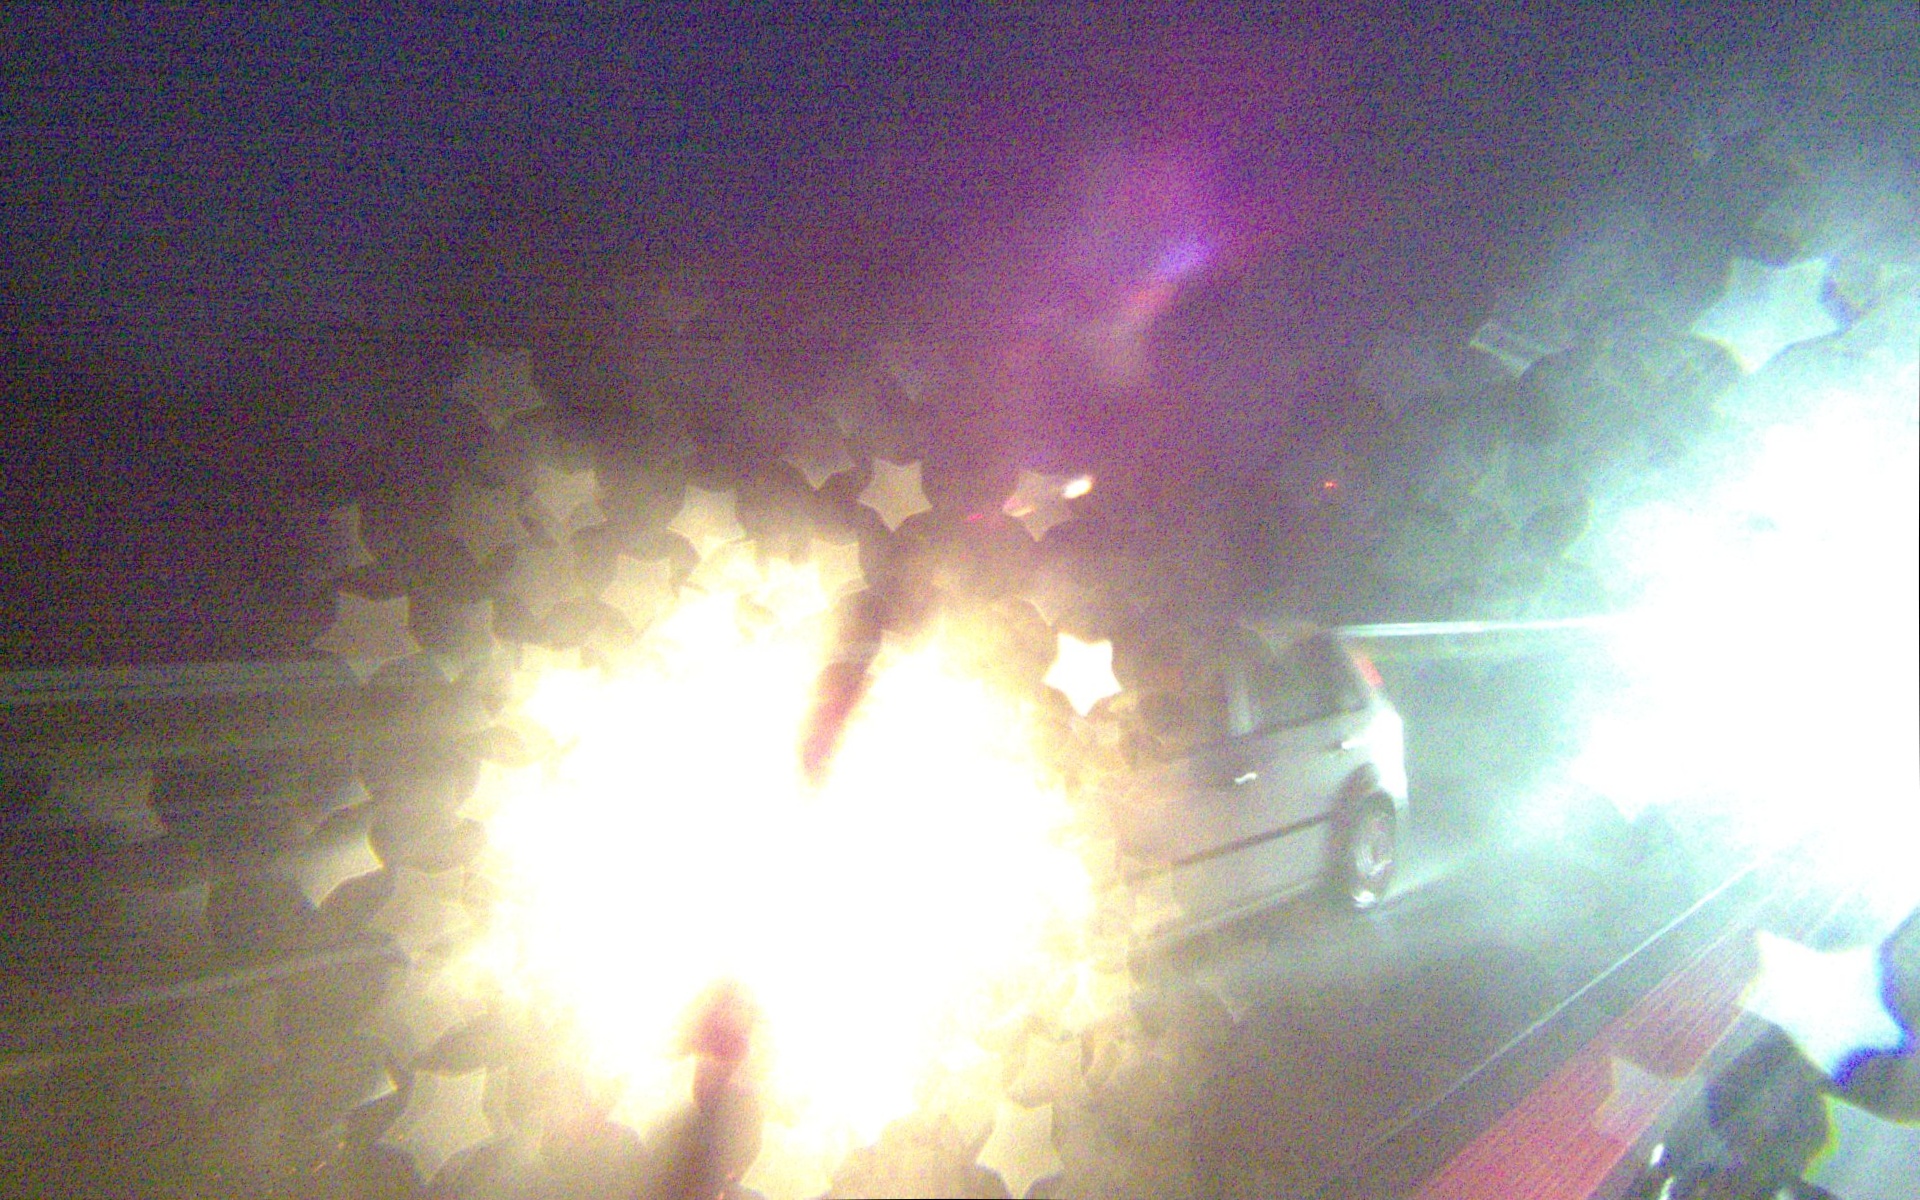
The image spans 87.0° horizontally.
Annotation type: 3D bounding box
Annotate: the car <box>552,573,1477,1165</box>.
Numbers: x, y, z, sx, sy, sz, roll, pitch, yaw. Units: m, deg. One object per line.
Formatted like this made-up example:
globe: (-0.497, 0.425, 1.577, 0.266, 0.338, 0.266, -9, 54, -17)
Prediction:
car: (0.564, 0.655, 4.562, 4.122, 1.476, 1.772, 0, 0, -41)
